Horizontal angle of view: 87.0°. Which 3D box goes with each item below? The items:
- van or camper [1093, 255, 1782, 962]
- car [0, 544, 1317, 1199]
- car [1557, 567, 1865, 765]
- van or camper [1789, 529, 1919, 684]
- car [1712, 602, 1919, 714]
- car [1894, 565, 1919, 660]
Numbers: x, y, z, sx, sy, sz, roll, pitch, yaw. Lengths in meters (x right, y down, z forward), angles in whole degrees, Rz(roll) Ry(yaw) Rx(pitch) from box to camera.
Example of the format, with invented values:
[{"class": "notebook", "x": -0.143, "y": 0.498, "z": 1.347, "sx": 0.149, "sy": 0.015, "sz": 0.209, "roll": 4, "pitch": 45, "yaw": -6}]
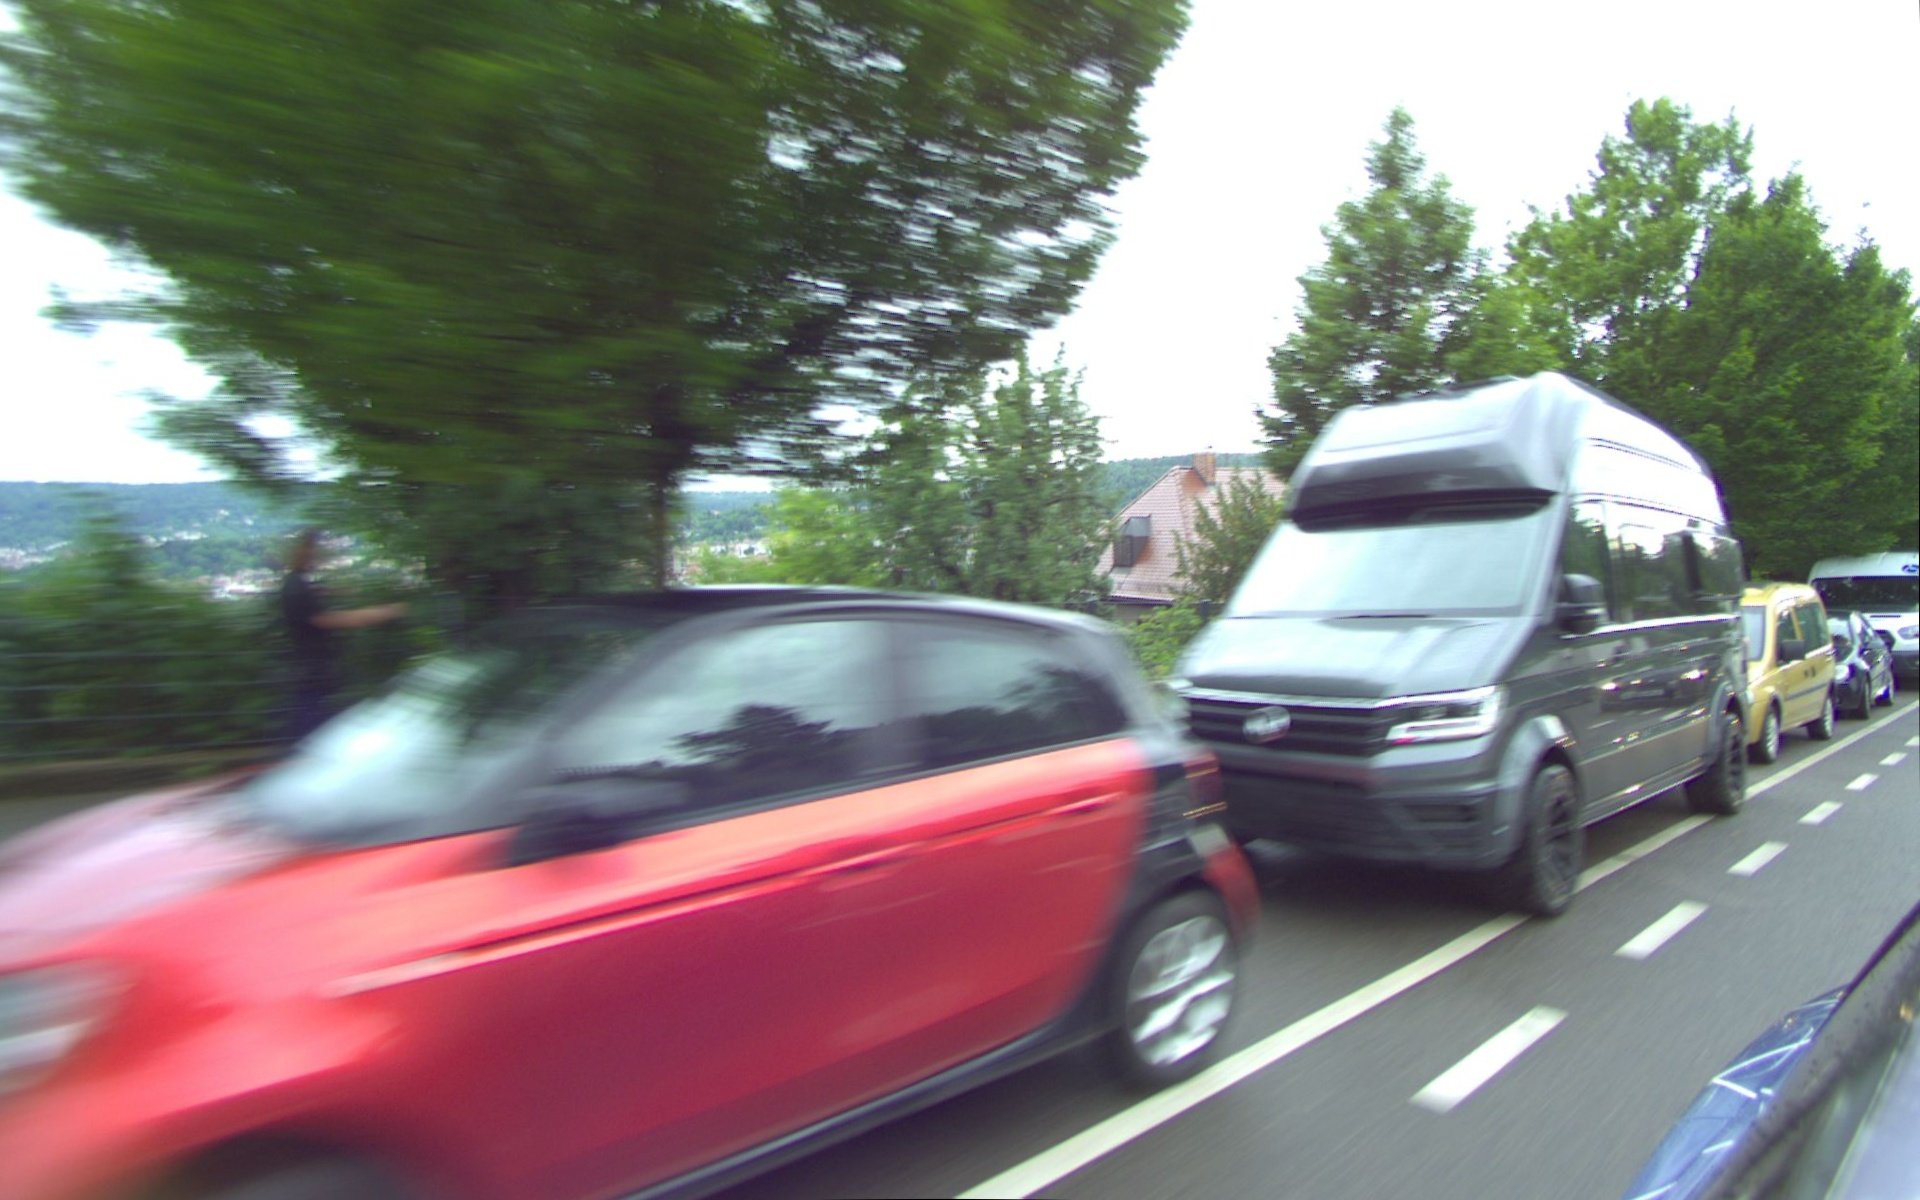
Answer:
[{"class": "van or camper", "x": 3.589, "y": 0.016, "z": 6.871, "sx": 5.626, "sy": 2.947, "sz": 2.128, "roll": 0, "pitch": 0, "yaw": -41}, {"class": "car", "x": -0.686, "y": 0.686, "z": 3.036, "sx": 3.766, "sy": 1.559, "sz": 1.685, "roll": 0, "pitch": 1, "yaw": -41}, {"class": "car", "x": 8.350, "y": 0.587, "z": 11.112, "sx": 4.324, "sy": 1.771, "sz": 1.724, "roll": 0, "pitch": 0, "yaw": -40}, {"class": "van or camper", "x": 17.734, "y": 0.101, "z": 19.203, "sx": 5.517, "sy": 2.588, "sz": 2.168, "roll": 0, "pitch": -1, "yaw": -41}, {"class": "car", "x": 12.625, "y": 0.743, "z": 14.831, "sx": 4.326, "sy": 1.392, "sz": 1.723, "roll": 0, "pitch": 0, "yaw": -42}, {"class": "car", "x": 23.903, "y": 0.273, "z": 24.200, "sx": 4.324, "sy": 2.165, "sz": 1.724, "roll": 0, "pitch": -1, "yaw": -40}]
